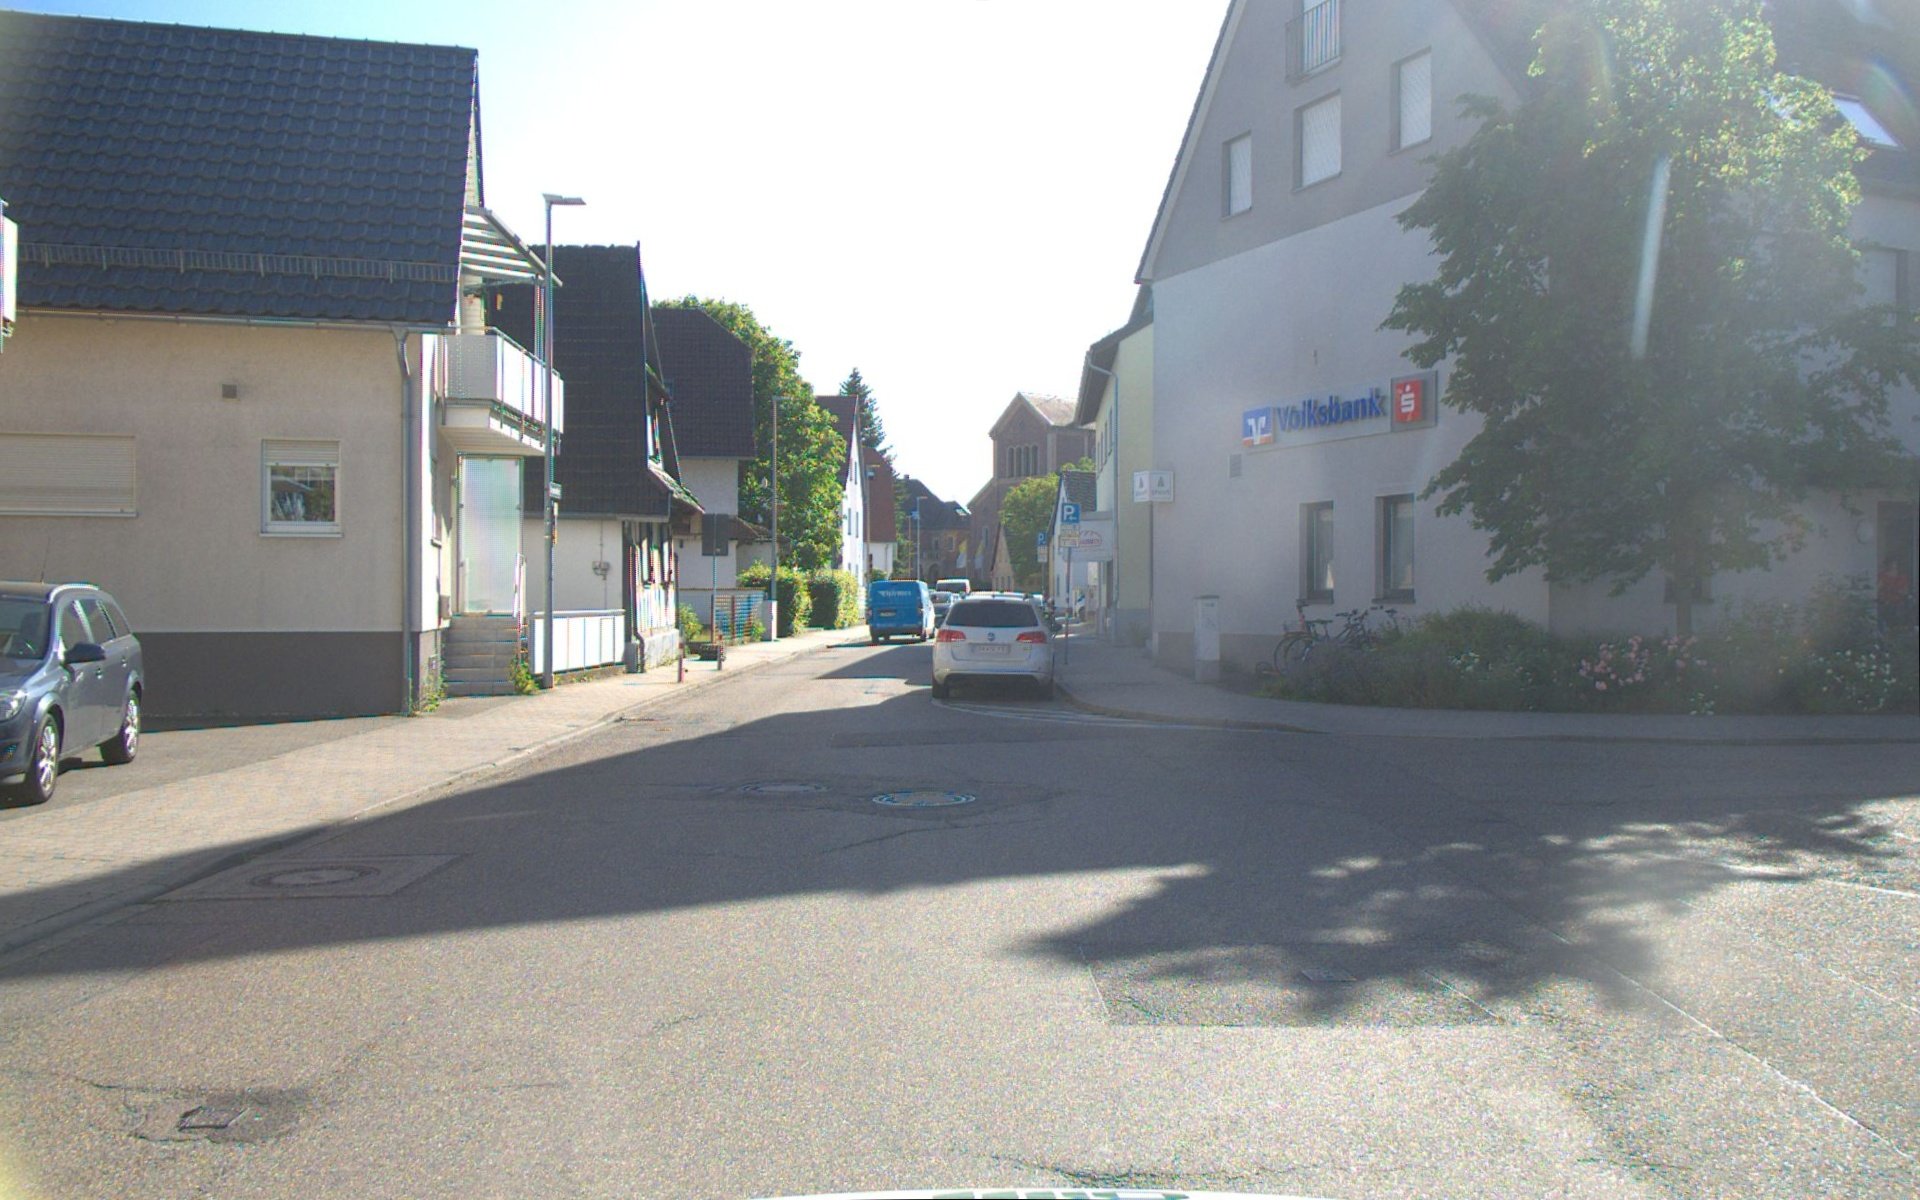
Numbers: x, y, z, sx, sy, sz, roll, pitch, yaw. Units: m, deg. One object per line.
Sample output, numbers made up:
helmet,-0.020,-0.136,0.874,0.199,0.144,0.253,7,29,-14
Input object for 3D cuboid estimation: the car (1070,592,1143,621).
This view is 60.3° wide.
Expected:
car,8.210,0.370,92.326,3.828,1.518,1.849,-1,0,12

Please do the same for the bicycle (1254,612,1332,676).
bicycle,5.261,0.694,26.134,1.196,0.992,0.320,-1,0,14

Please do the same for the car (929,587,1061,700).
car,0.617,0.585,24.994,1.807,1.540,4.508,0,1,3

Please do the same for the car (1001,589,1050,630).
car,2.451,0.337,62.658,1.774,1.501,4.661,1,0,2

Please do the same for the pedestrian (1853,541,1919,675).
pedestrian,14.513,0.119,25.746,0.760,2.049,0.763,-1,0,-16

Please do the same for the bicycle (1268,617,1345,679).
bicycle,5.350,0.735,25.539,1.138,0.936,0.313,-1,0,9

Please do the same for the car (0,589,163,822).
car,-7.294,0.654,12.317,1.660,1.470,4.159,1,0,-15

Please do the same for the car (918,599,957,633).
car,-1.105,0.793,83.165,1.679,1.626,3.927,-1,0,3

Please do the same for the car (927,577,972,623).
car,-0.567,-0.021,95.076,2.151,2.431,6.067,-2,0,3

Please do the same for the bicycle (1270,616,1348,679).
bicycle,5.288,0.716,25.107,1.138,0.936,0.313,-1,0,9

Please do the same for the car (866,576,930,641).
car,-1.940,0.245,53.255,1.863,1.951,5.069,-1,0,0

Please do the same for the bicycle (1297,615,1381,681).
bicycle,5.500,0.695,24.022,1.139,0.936,0.313,-1,0,-2

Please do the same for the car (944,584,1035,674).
car,0.525,0.497,31.223,1.577,1.547,3.971,1,0,0

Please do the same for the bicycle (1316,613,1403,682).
bicycle,5.591,0.662,23.173,1.139,0.936,0.313,-1,0,-2
